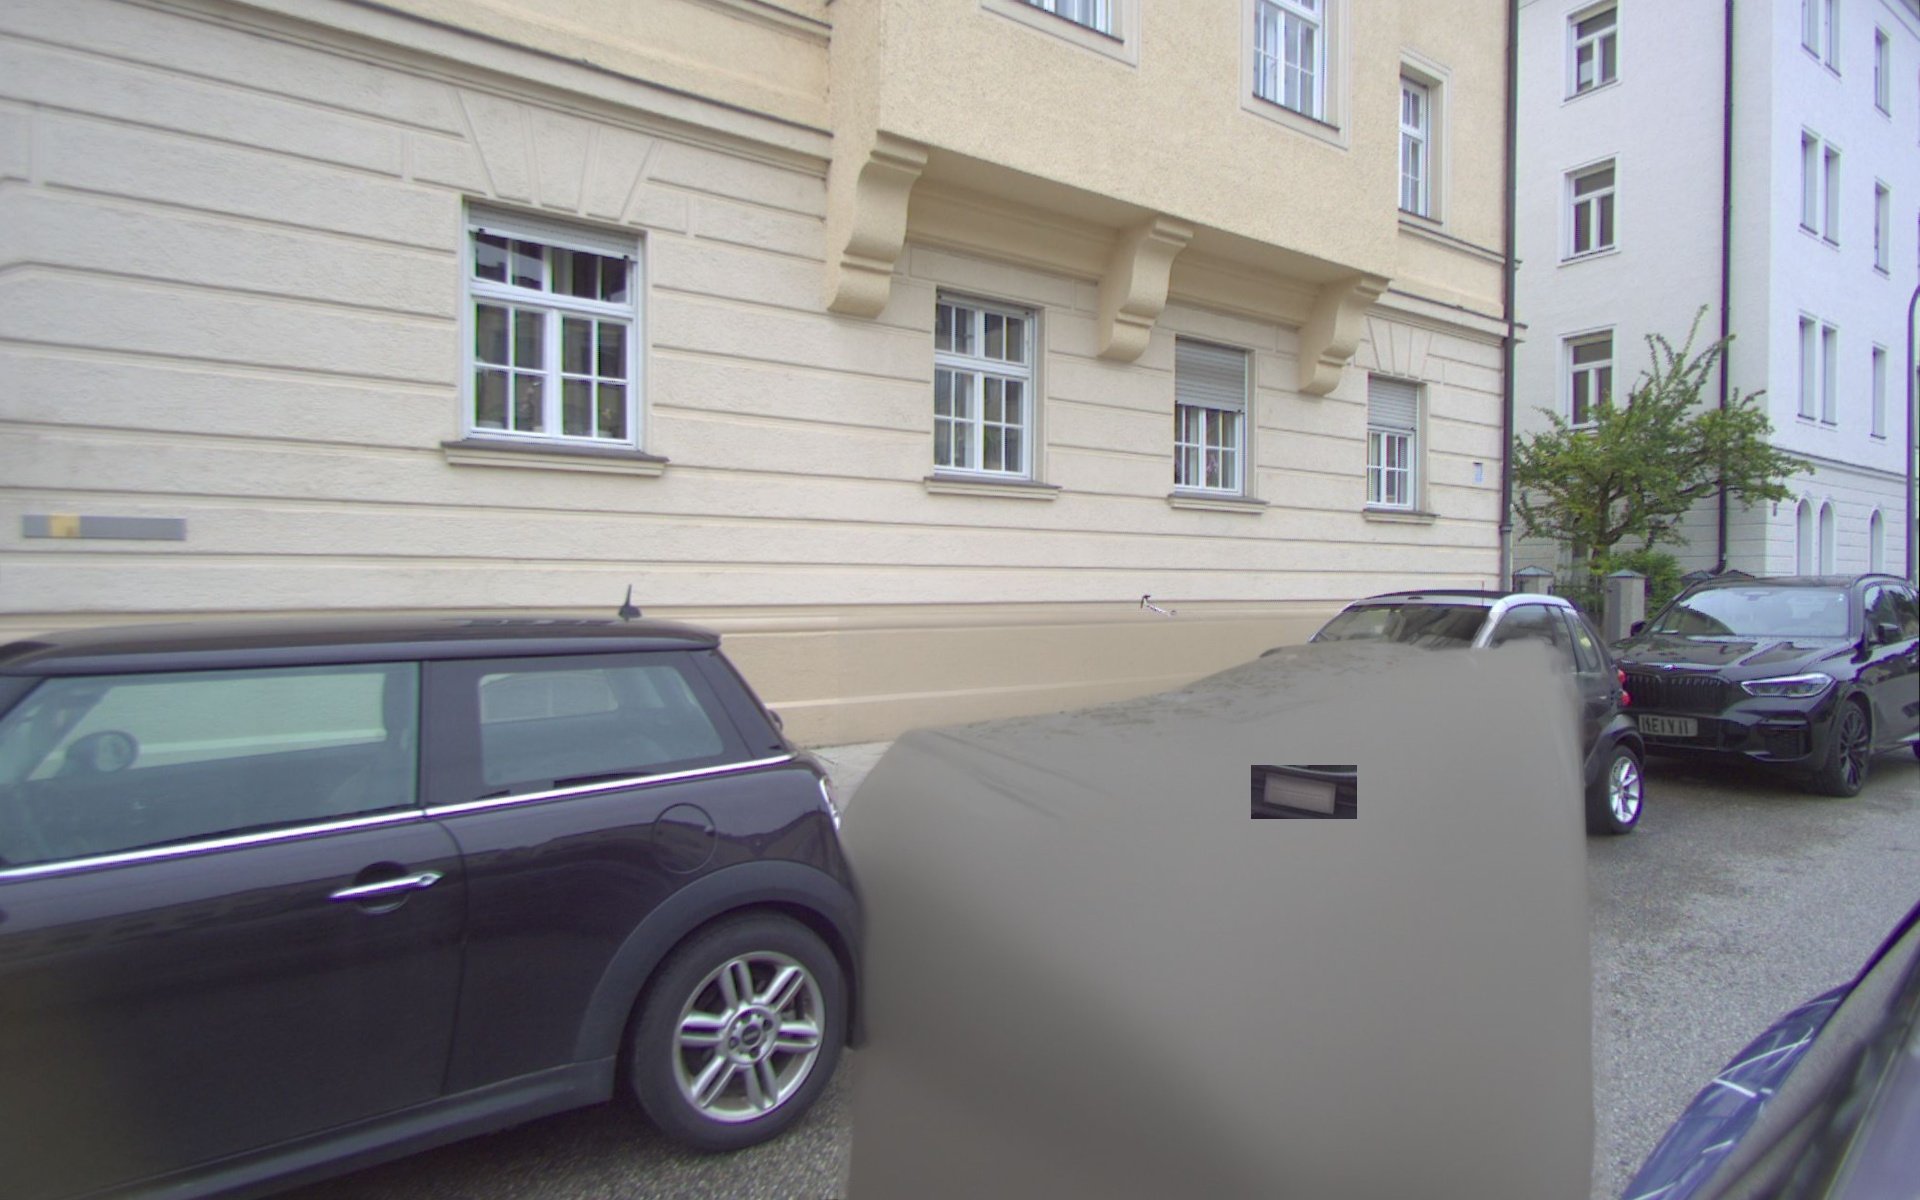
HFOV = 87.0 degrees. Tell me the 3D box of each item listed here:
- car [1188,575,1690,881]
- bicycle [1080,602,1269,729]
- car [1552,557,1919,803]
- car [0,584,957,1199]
[{"bbox_3d":[3.155,0.637,6.590,3.049,1.543,1.541,-1,0,-32],"label":"car"},{"bbox_3d":[2.107,0.590,9.843,1.915,1.096,0.581,0,3,-34],"label":"bicycle"},{"bbox_3d":[7.618,0.550,9.247,4.771,1.739,1.875,-1,0,-33],"label":"car"},{"bbox_3d":[-2.054,0.709,2.743,3.755,1.466,1.714,-1,0,-32],"label":"car"}]
